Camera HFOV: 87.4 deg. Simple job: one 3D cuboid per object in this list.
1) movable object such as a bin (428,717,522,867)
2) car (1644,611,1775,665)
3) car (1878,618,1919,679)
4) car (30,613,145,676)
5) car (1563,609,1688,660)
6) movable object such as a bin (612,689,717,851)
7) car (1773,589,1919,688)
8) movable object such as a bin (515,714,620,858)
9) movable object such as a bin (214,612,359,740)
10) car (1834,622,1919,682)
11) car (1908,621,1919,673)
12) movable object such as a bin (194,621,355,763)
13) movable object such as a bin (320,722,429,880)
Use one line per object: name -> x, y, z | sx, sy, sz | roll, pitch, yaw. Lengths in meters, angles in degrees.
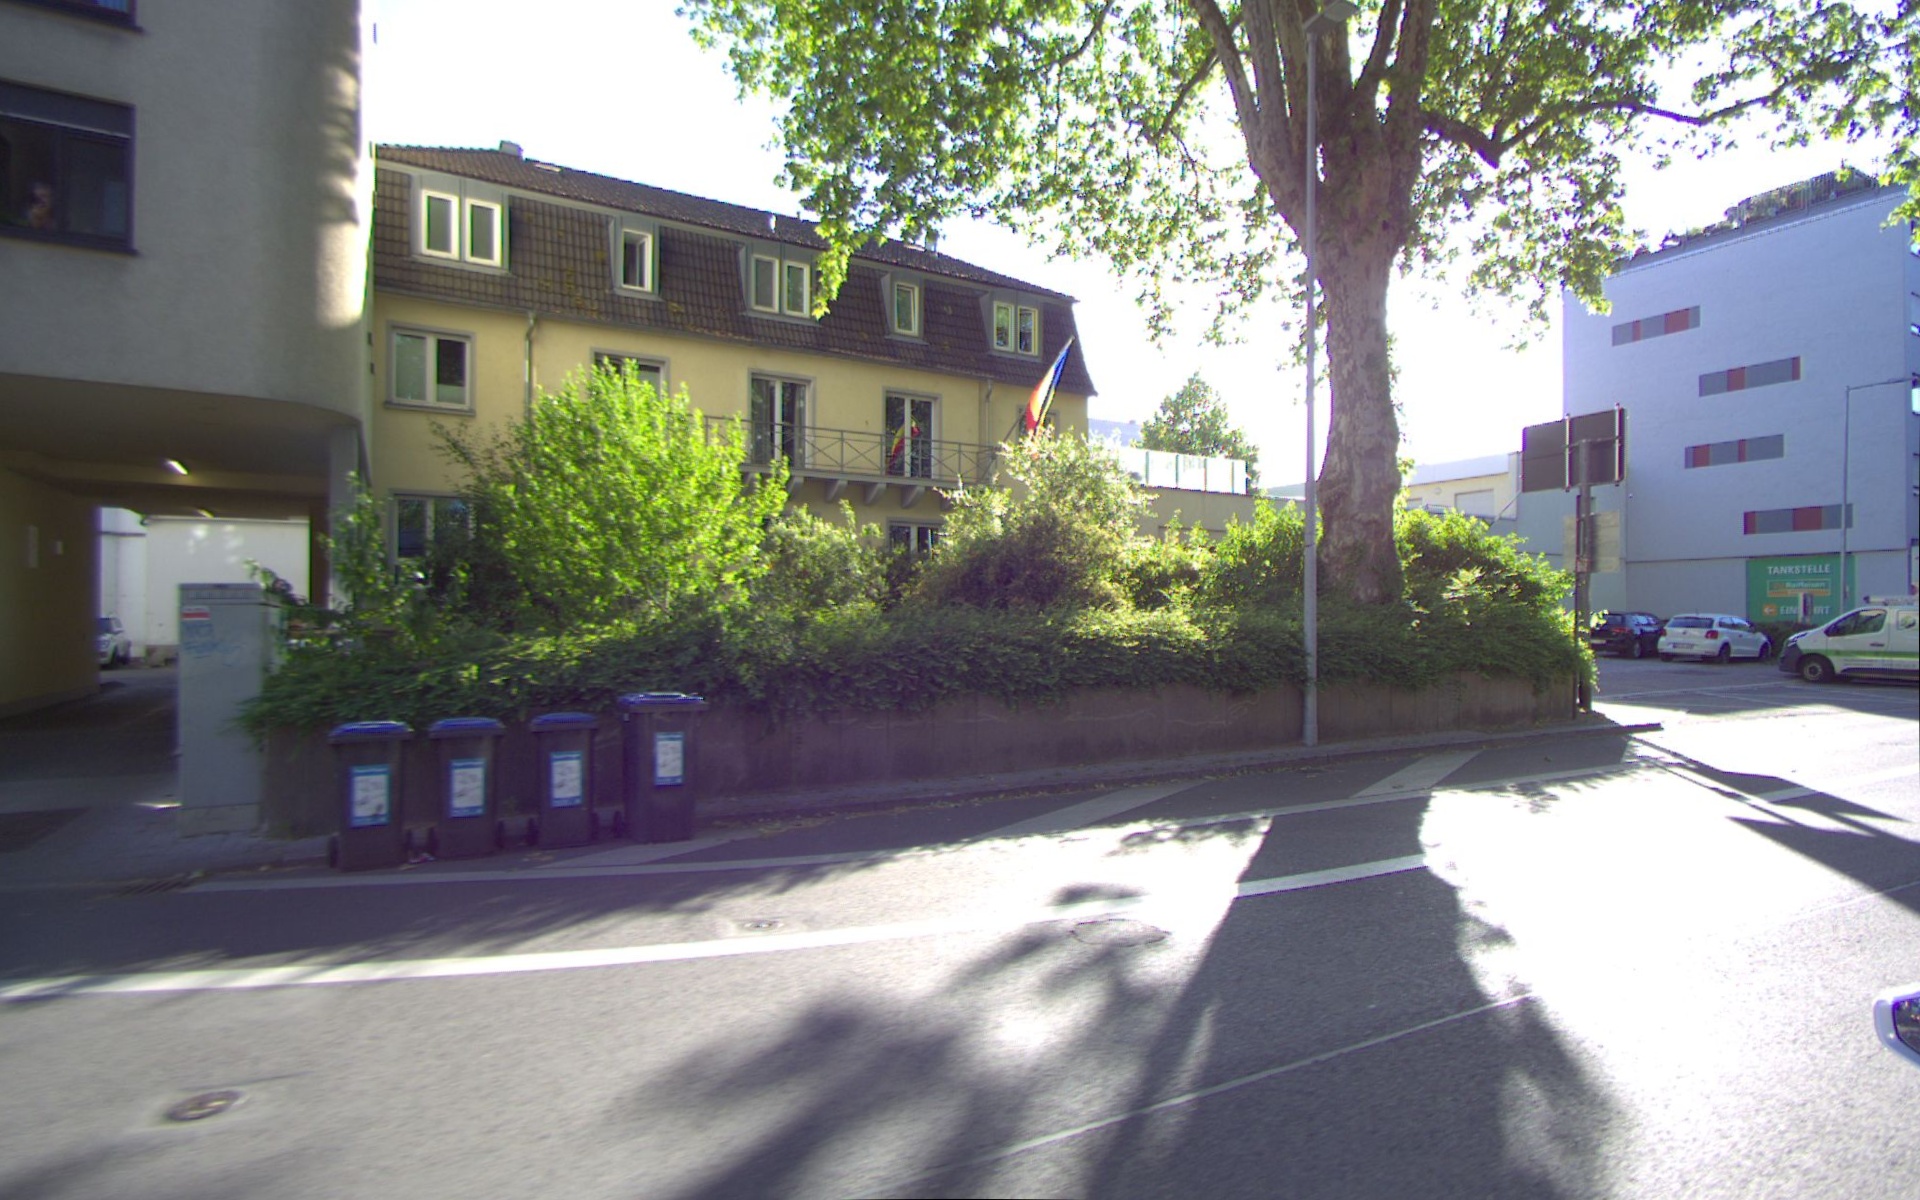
movable object such as a bin -> -3.375, 1.303, 6.975 | 0.552, 0.913, 0.539 | 0, -1, -30
car -> 22.625, 1.100, 30.305 | 3.953, 1.484, 1.781 | 0, 1, -30
car -> 26.605, 1.299, 25.923 | 1.831, 1.580, 3.968 | 0, 0, -30
car -> -25.091, 1.233, 29.029 | 1.834, 1.614, 4.010 | 1, 0, -31
car -> 21.307, 1.058, 32.147 | 3.953, 1.484, 1.781 | 0, 1, -30
movable object such as a bin -> -2.212, 1.235, 7.498 | 0.637, 1.085, 0.591 | 0, -1, -30
car -> 22.663, 0.890, 23.809 | 2.114, 2.246, 4.821 | 1, 0, -30
movable object such as a bin -> -2.850, 1.319, 7.286 | 0.637, 0.913, 0.539 | 0, -1, -30
movable object such as a bin -> -8.087, 0.869, 12.155 | 1.351, 1.361, 1.181 | 0, 3, -29
car -> 24.658, 1.311, 25.039 | 1.831, 1.452, 3.968 | 0, 0, -30
car -> 28.427, 1.317, 26.969 | 1.831, 1.452, 3.968 | 0, 0, -30
movable object such as a bin -> -7.486, 0.955, 11.074 | 1.351, 1.361, 1.181 | 0, 3, -29
movable object such as a bin -> -3.879, 1.303, 6.678 | 0.597, 0.913, 0.539 | 0, -1, -30
